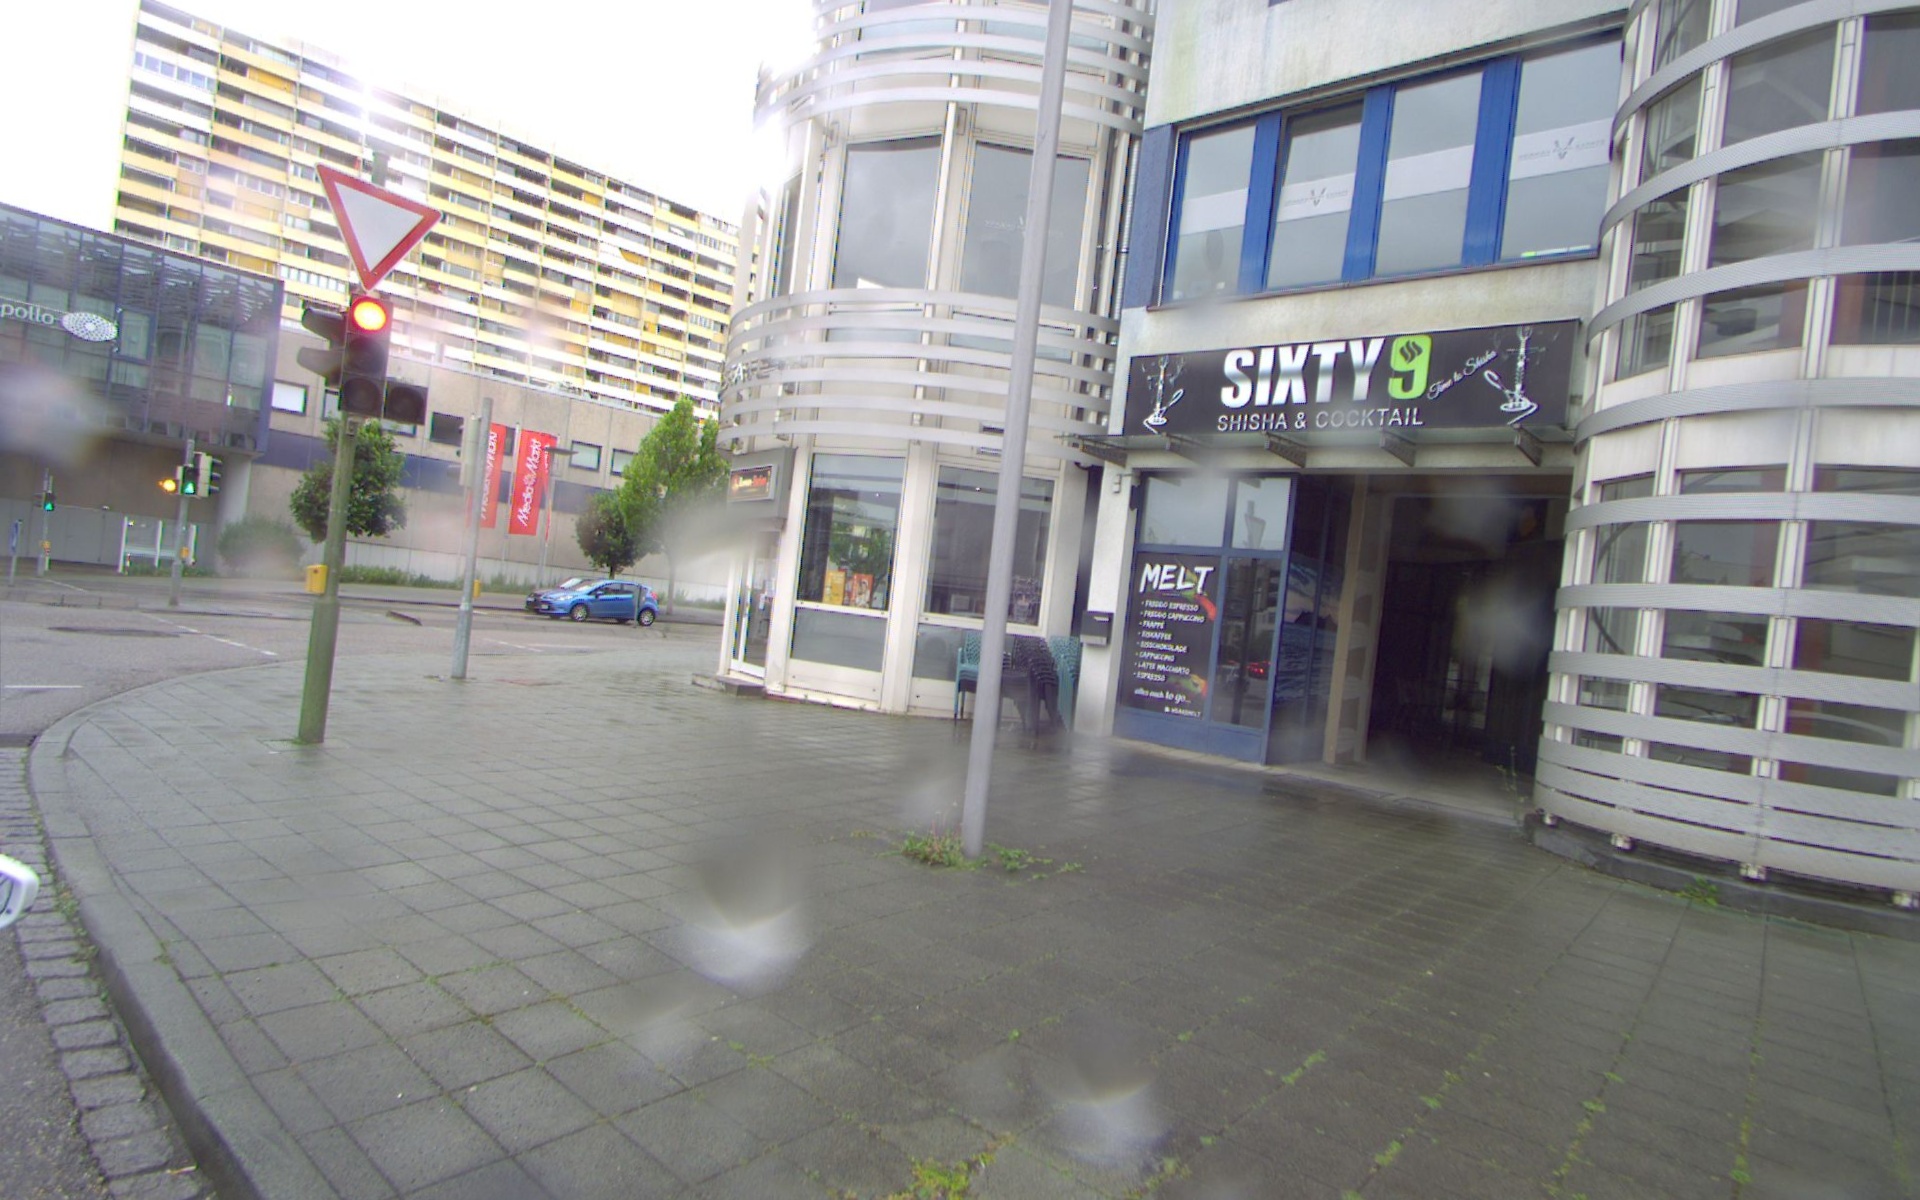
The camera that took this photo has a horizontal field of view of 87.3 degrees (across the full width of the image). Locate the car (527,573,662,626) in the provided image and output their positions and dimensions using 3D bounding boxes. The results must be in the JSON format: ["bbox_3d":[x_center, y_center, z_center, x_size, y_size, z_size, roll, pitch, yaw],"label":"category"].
[{"bbox_3d":[-12.074,0.011,33.397,1.655,1.415,3.837,5,0,40],"label":"car"}]

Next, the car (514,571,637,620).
[{"bbox_3d":[-13.746,-0.155,36.068,1.720,1.412,3.677,5,0,41],"label":"car"}]
